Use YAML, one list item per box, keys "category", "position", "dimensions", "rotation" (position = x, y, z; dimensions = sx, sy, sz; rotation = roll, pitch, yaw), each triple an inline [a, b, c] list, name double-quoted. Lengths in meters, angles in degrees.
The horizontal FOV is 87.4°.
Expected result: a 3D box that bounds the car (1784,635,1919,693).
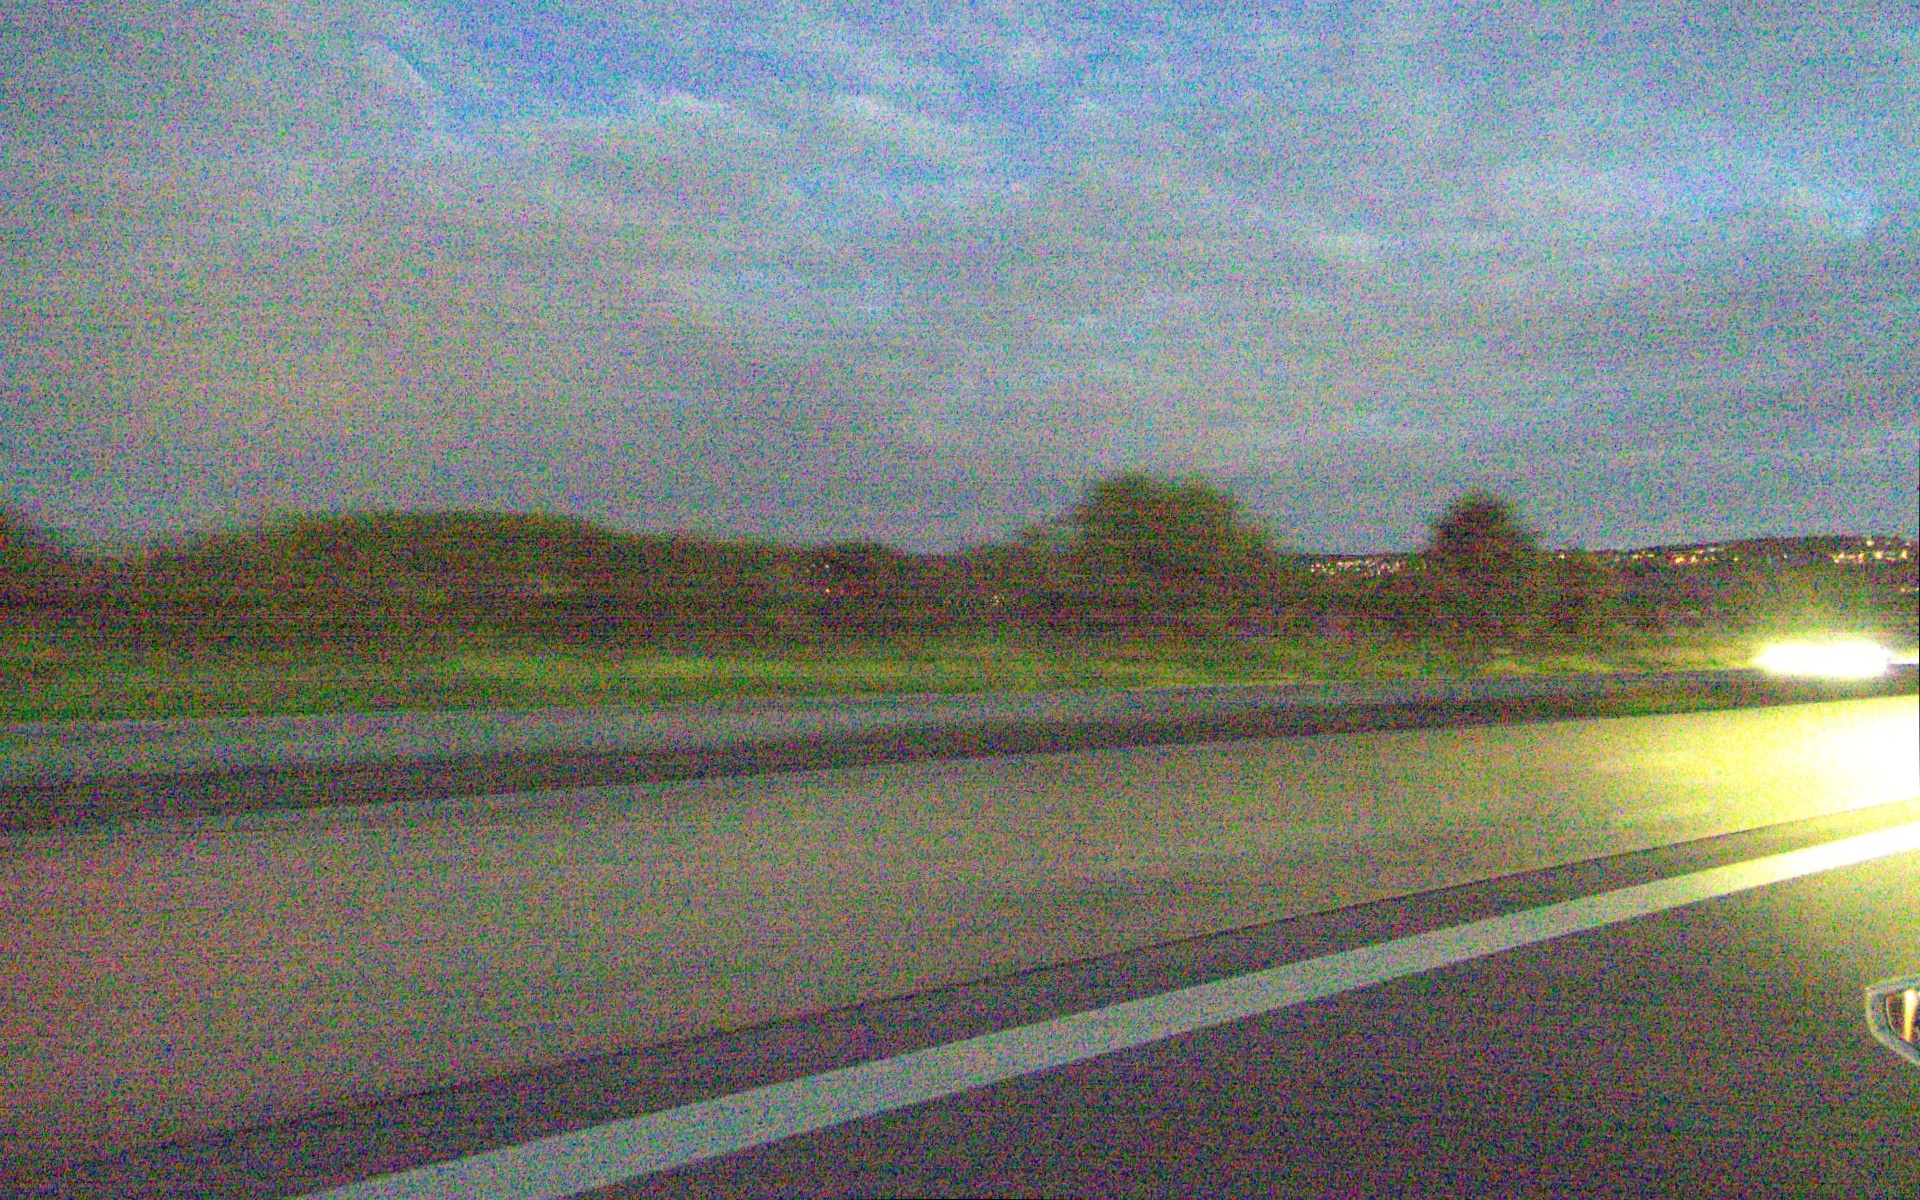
- category: "car"
  position: [27.679, 1.914, 30.845]
  dimensions: [5.233, 1.664, 1.895]
  rotation: [1, -2, -29]
